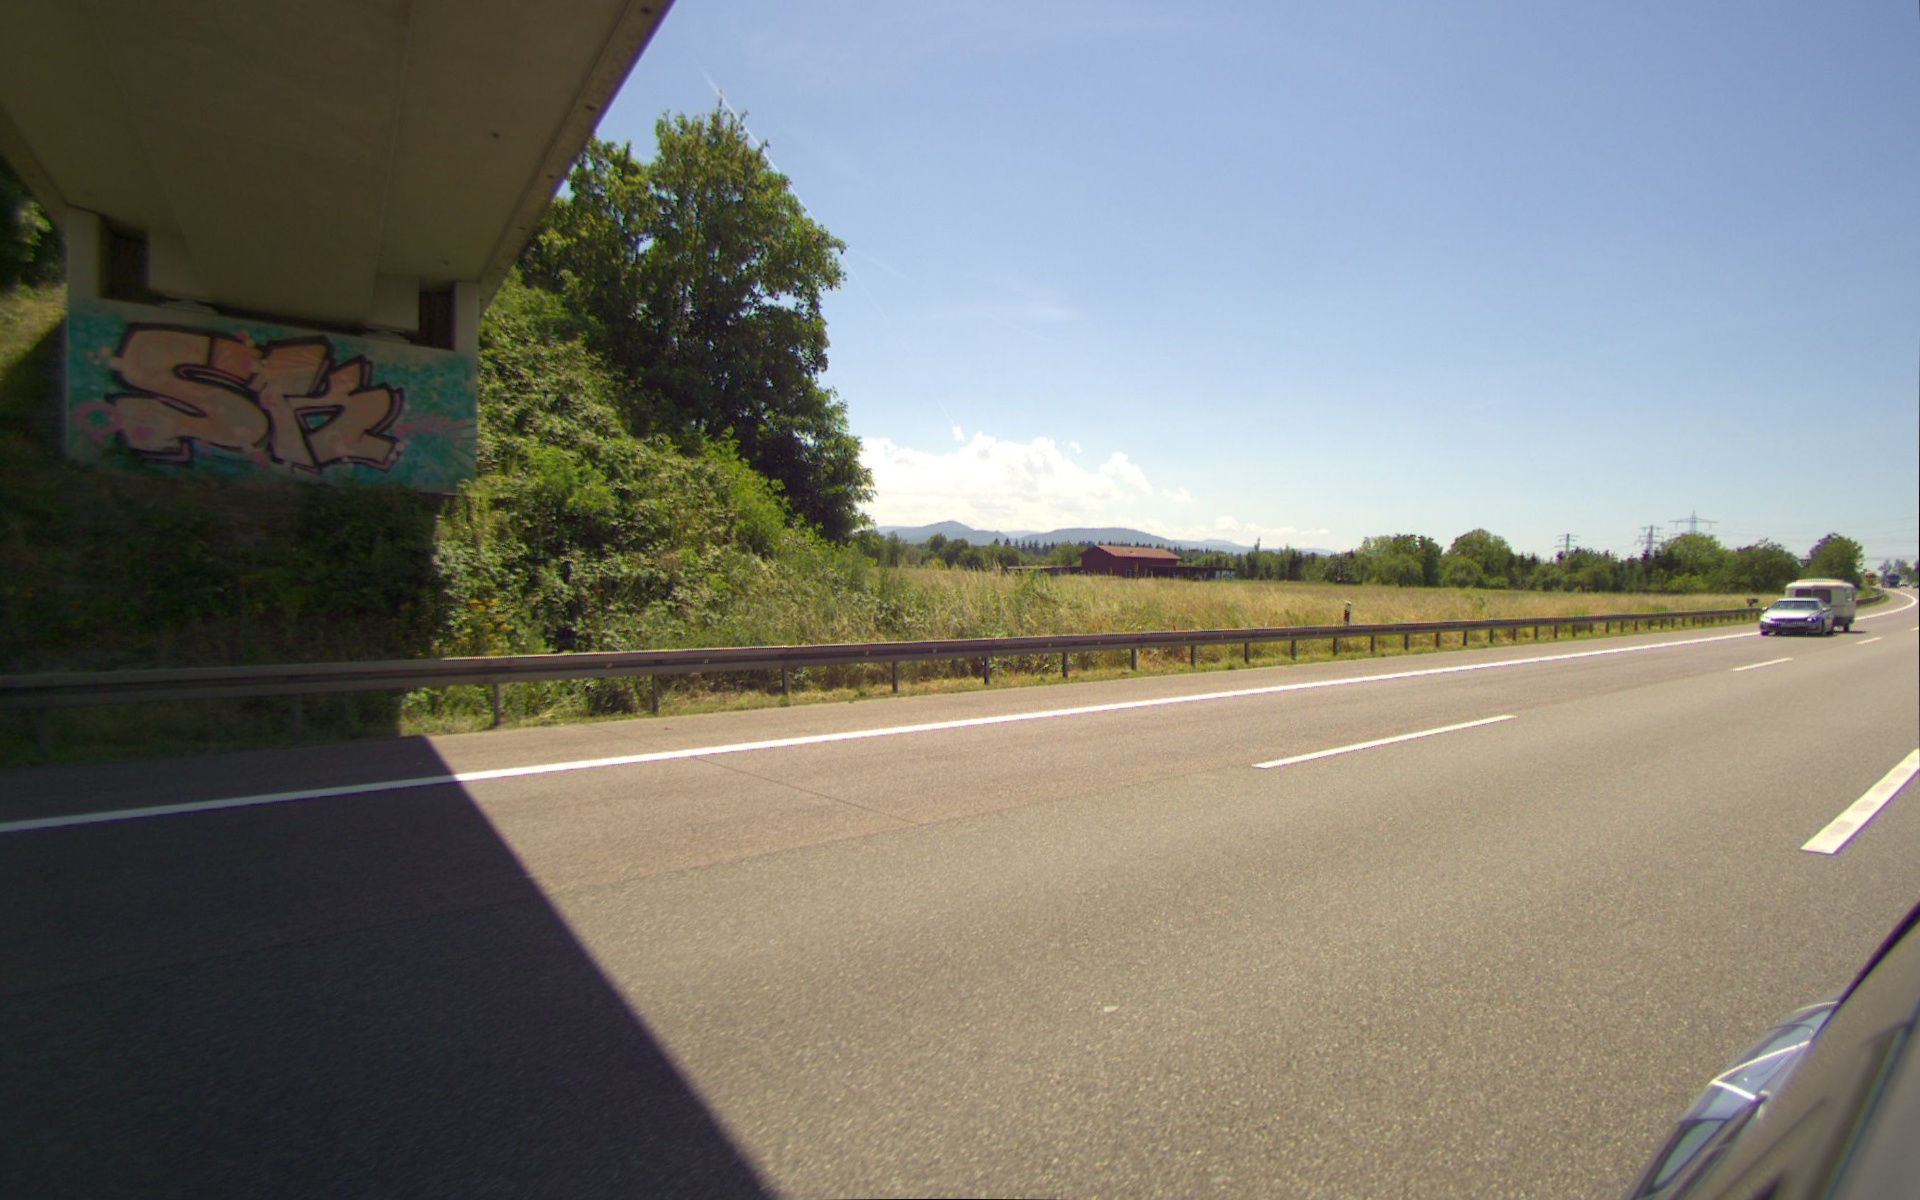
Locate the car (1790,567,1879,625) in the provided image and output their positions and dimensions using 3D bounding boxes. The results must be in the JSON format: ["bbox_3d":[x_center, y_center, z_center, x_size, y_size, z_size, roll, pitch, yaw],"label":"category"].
[{"bbox_3d":[36.859,-0.220,42.627,4.866,2.294,2.186,-1,2,-42],"label":"car"}]

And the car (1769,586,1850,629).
[{"bbox_3d":[32.194,0.255,38.317,3.931,1.494,1.782,-1,2,-42],"label":"car"}]
